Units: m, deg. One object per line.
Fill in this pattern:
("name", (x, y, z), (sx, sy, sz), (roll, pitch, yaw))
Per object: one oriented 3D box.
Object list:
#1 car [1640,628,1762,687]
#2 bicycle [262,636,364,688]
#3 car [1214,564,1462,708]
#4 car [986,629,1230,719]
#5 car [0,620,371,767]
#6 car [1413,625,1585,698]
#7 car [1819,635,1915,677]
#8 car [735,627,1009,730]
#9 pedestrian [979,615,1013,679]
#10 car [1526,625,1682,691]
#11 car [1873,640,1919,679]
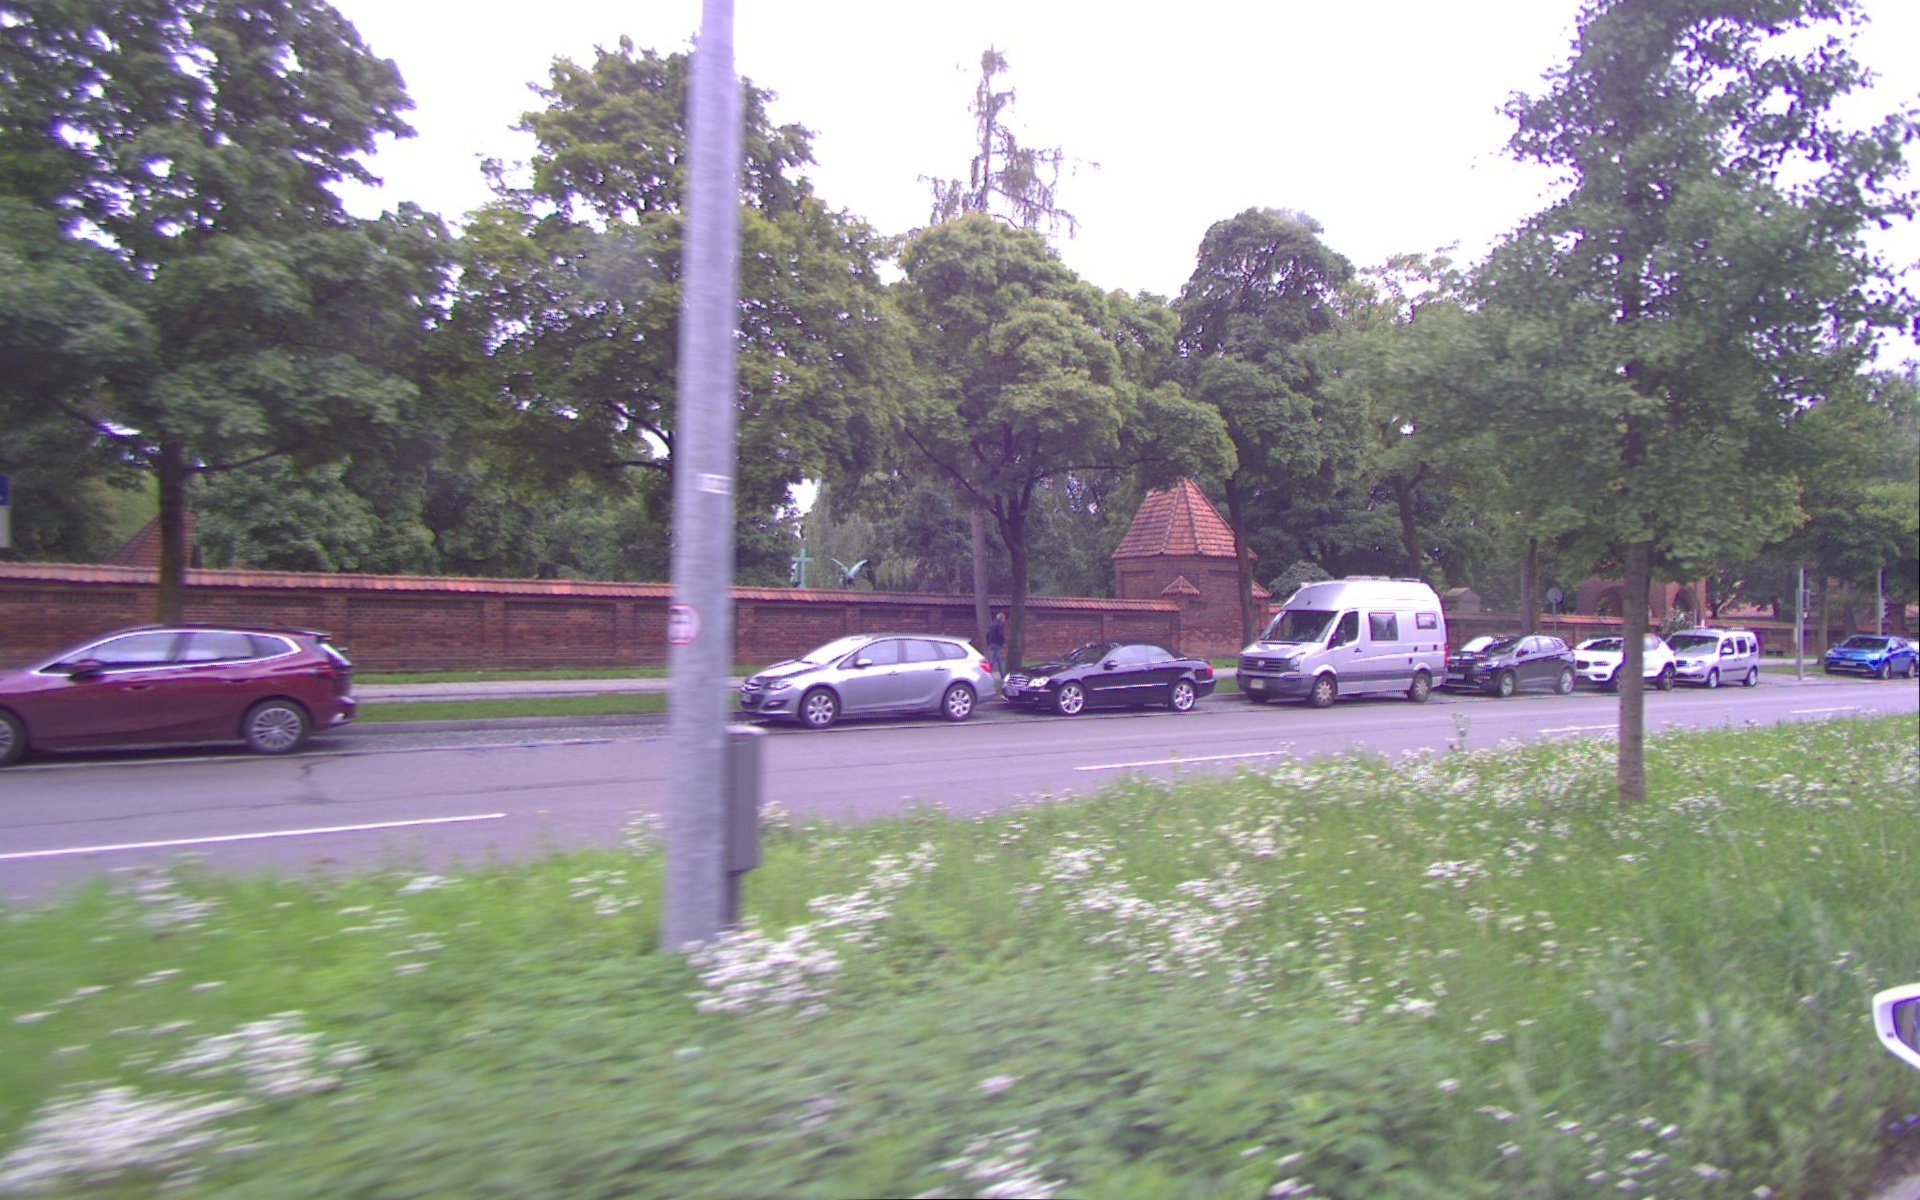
("car", (23.573, 1.801, 31.932), (3.953, 1.756, 1.698), (1, -2, -30))
("bicycle", (-12.407, 1.179, 19.312), (1.602, 0.949, 0.651), (1, -1, -33))
("car", (8.902, 0.812, 23.402), (6.124, 2.993, 2.173), (1, -1, -33))
("car", (3.016, 1.402, 20.044), (4.764, 1.557, 1.804), (1, -1, -31))
("car", (-9.726, 1.060, 12.351), (4.249, 1.557, 1.804), (1, -1, -31))
("car", (14.488, 1.587, 26.946), (4.528, 1.759, 2.173), (1, -1, -33))
("car", (35.599, 2.179, 39.399), (3.953, 1.554, 1.698), (1, -2, -30))
("car", (-1.467, 1.276, 17.369), (4.390, 1.557, 1.804), (1, -1, -31))
("pedestrian", (0.921, 1.173, 25.357), (0.778, 1.588, 0.777), (1, -1, 6))
("car", (18.939, 1.659, 29.496), (4.528, 1.759, 2.173), (1, -1, -33))
("car", (40.274, 2.462, 42.247), (3.953, 1.554, 1.698), (1, -2, -30))
